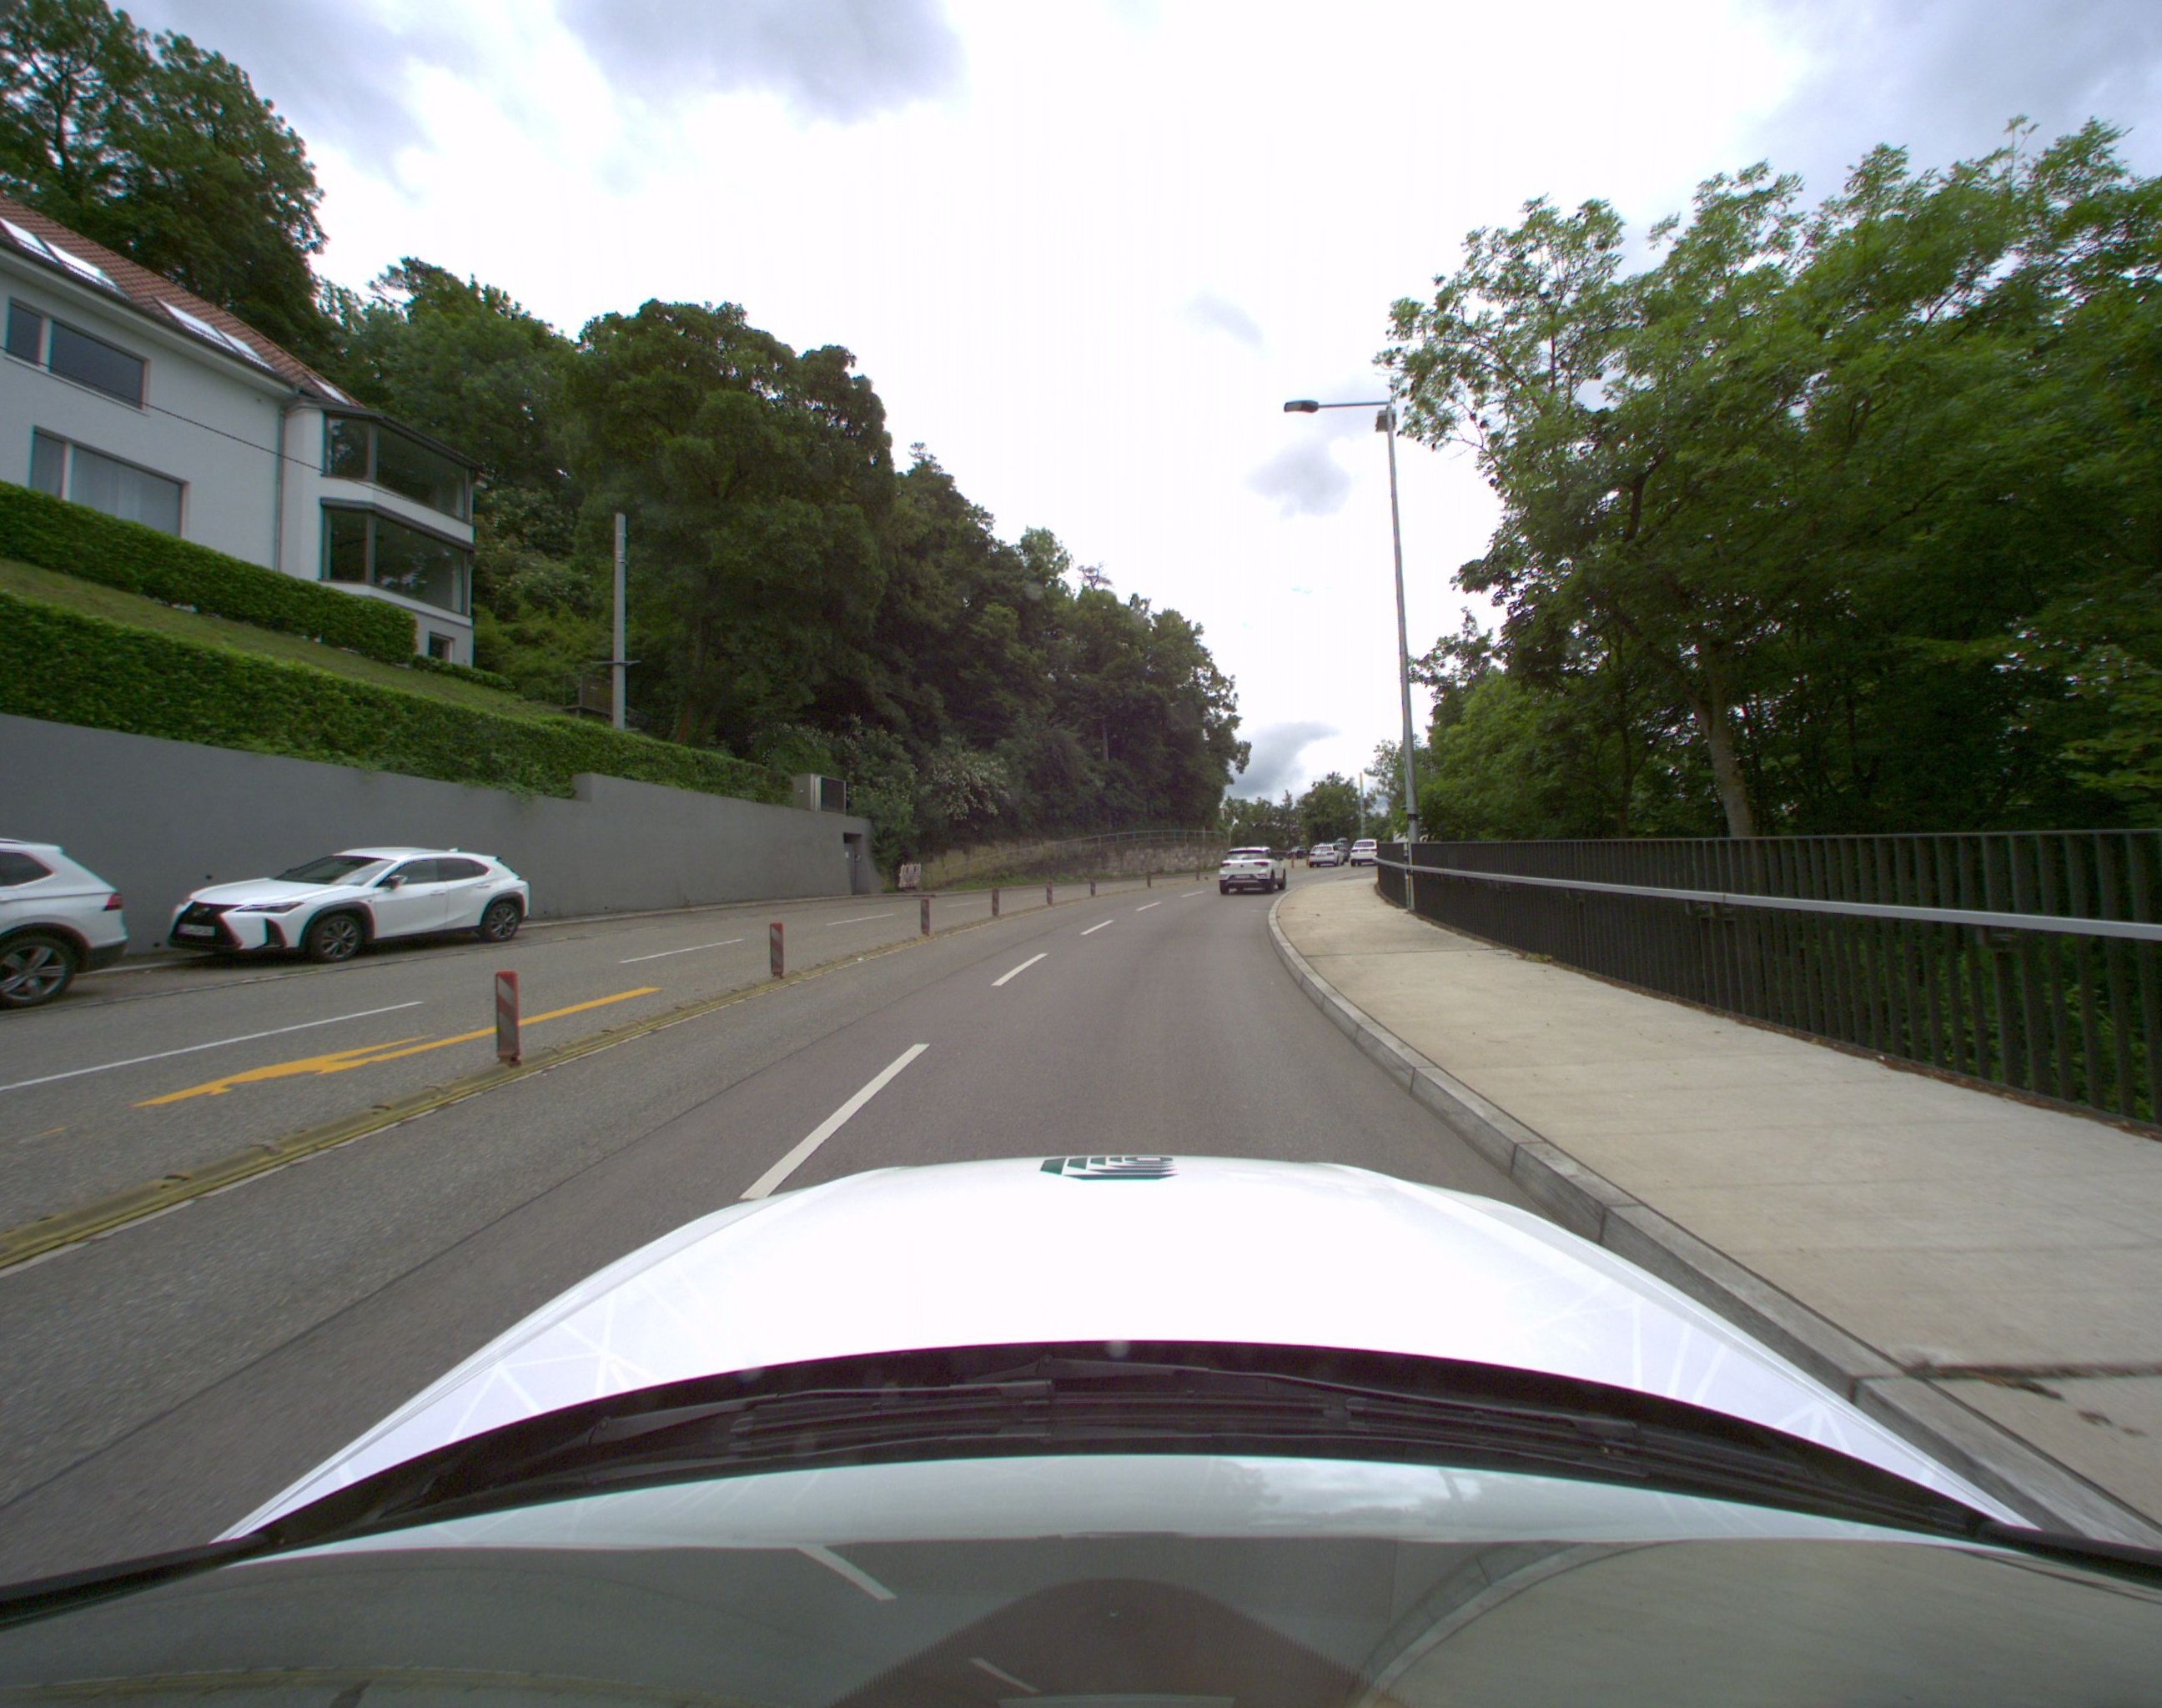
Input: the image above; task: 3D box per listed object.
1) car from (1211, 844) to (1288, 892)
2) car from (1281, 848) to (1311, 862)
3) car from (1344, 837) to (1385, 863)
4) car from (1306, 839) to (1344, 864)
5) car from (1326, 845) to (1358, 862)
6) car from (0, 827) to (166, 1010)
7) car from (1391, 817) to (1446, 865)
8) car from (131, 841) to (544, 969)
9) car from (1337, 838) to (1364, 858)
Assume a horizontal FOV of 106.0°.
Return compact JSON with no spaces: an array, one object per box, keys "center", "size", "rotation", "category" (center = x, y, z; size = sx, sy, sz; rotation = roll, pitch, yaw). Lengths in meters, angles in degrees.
[{"center":[5.907,0.439,28.229],"size":[1.850,1.536,3.825],"rotation":[-1,0,23],"category":"car"},{"center":[25.189,0.103,95.592],"size":[1.890,1.611,3.983],"rotation":[1,0,-12],"category":"car"},{"center":[17.883,-0.251,51.293],"size":[1.975,1.586,4.023],"rotation":[0,0,26],"category":"car"},{"center":[16.287,-0.155,54.148],"size":[1.889,1.574,4.022],"rotation":[0,0,24],"category":"car"},{"center":[29.275,-0.053,91.536],"size":[1.795,1.772,4.599],"rotation":[-1,0,-5],"category":"car"},{"center":[-11.176,0.591,6.681],"size":[1.852,1.731,4.762],"rotation":[1,0,1],"category":"car"},{"center":[20.048,-0.787,48.221],"size":[2.064,2.523,5.881],"rotation":[-5,-1,30],"category":"car"},{"center":[-10.819,0.646,12.435],"size":[1.822,1.572,4.485],"rotation":[0,0,8],"category":"car"},{"center":[21.600,-0.431,65.375],"size":[1.978,1.541,4.028],"rotation":[0,0,17],"category":"car"}]
